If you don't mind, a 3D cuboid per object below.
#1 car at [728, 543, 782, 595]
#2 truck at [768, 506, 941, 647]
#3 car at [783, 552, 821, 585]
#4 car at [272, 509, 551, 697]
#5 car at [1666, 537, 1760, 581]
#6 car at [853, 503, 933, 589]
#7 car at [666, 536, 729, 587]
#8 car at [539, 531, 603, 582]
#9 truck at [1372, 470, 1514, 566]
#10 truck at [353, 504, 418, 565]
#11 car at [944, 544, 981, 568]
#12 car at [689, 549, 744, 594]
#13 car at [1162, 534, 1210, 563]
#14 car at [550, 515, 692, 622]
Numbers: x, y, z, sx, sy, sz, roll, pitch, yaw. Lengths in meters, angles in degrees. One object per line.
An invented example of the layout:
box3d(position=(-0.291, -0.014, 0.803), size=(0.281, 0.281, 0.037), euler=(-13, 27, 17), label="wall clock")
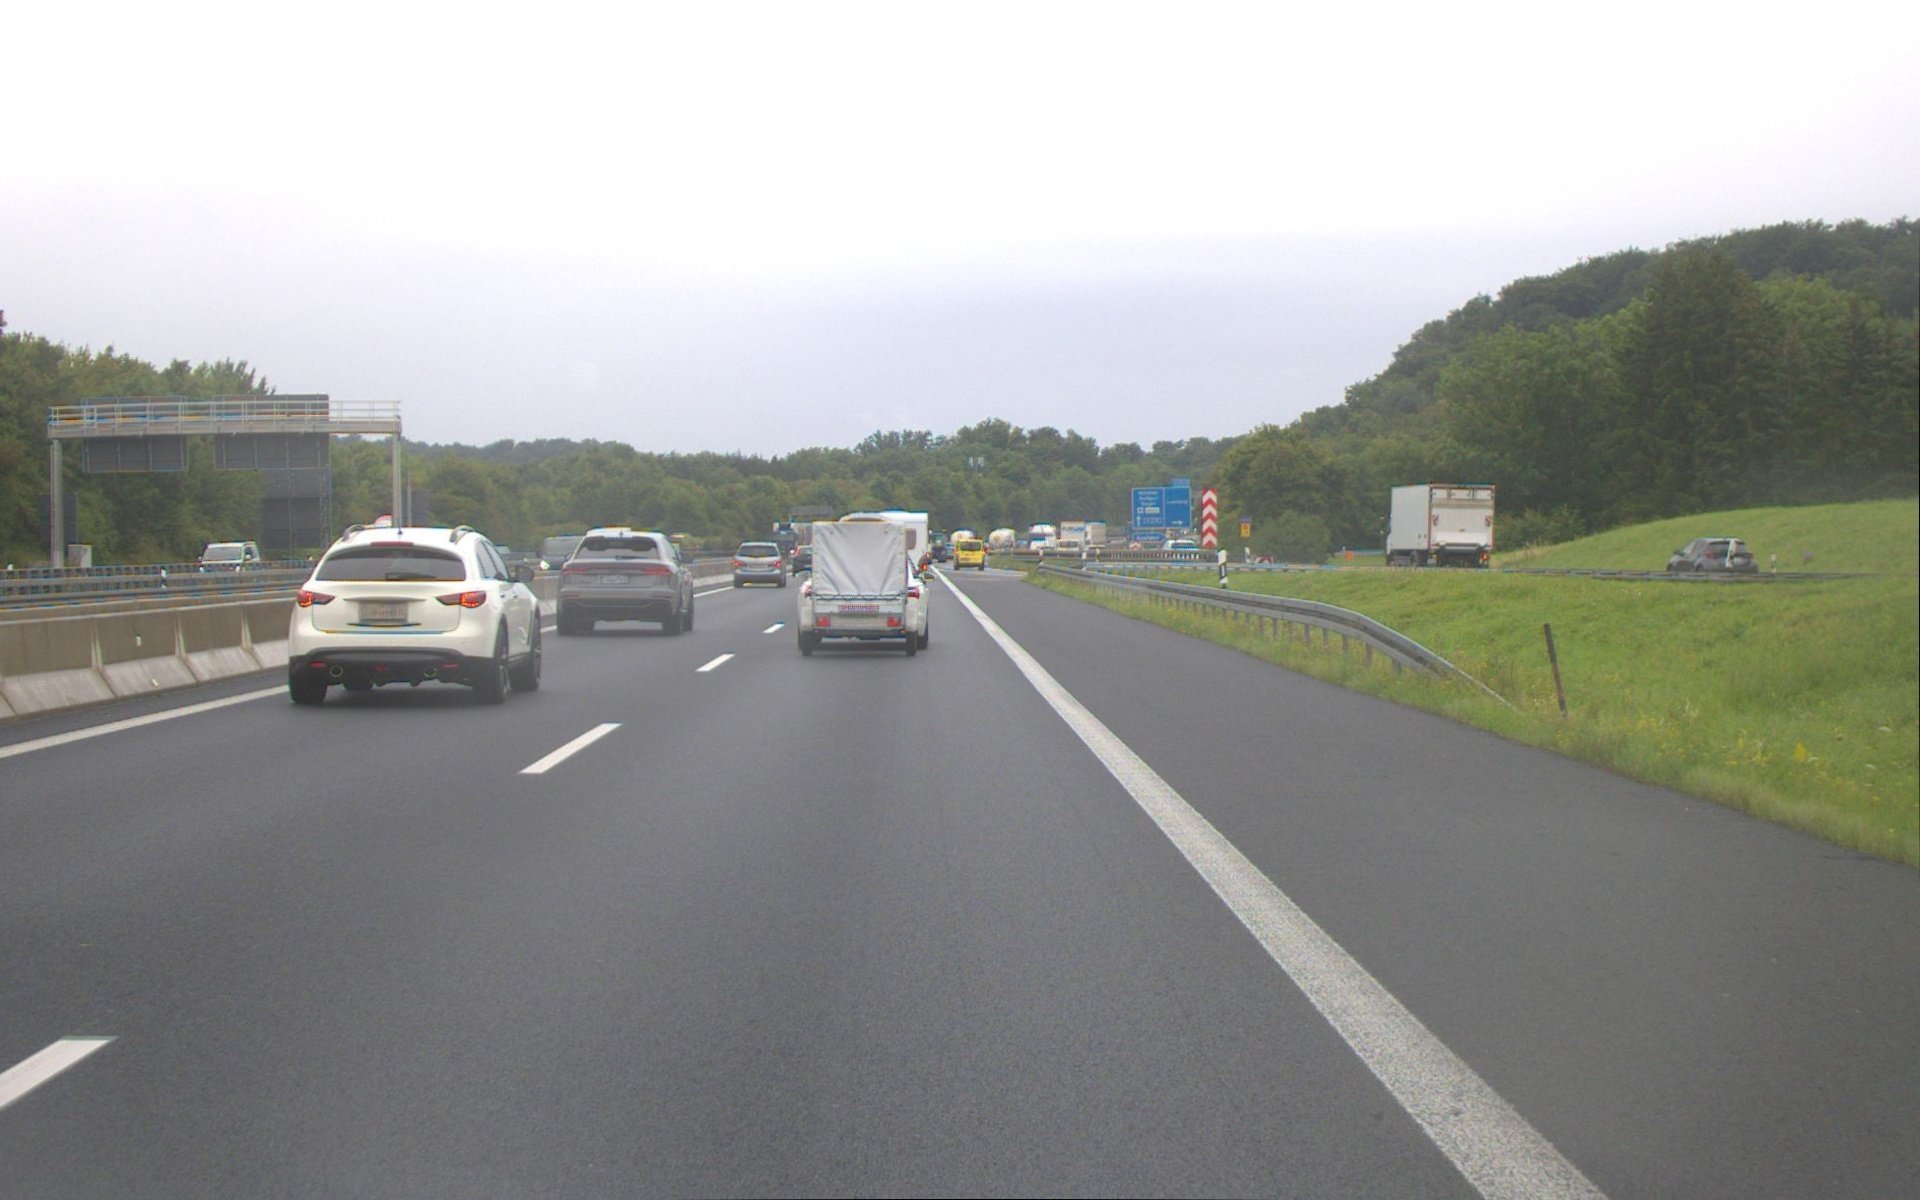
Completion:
box3d(position=(-7.247, -1.126, 121.862), size=(1.738, 1.787, 4.000), euler=(1, 1, -1), label="car")
box3d(position=(-1.463, -0.368, 48.056), size=(2.242, 1.833, 6.585), euler=(0, 1, -2), label="truck")
box3d(position=(-7.585, -1.524, 164.978), size=(1.645, 1.568, 4.000), euler=(1, 1, 0), label="car")
box3d(position=(-5.177, -0.014, 33.003), size=(2.048, 1.665, 4.541), euler=(1, 1, -1), label="car")
box3d(position=(22.989, -1.259, 105.039), size=(1.696, 1.284, 3.536), euler=(1, 1, -7), label="car")
box3d(position=(-2.241, -1.777, 112.376), size=(2.331, 2.716, 6.541), euler=(0, 1, -4), label="car")
box3d(position=(-8.861, -1.317, 116.328), size=(1.819, 1.656, 4.017), euler=(0, 1, 0), label="car")
box3d(position=(-14.599, -1.652, 129.105), size=(1.993, 1.830, 4.680), euler=(1, 1, -2), label="car")
box3d(position=(19.160, -3.241, 136.870), size=(3.824, 3.646, 8.273), euler=(1, 1, -4), label="truck")
box3d(position=(-35.687, -4.072, 213.819), size=(2.685, 3.648, 9.559), euler=(-1, 1, -2), label="truck")
box3d(position=(0.183, -2.882, 224.846), size=(1.993, 1.546, 4.001), euler=(1, 1, -6), label="car")
box3d(position=(-9.208, -1.096, 130.347), size=(1.819, 1.656, 4.017), euler=(0, 1, 0), label="car")
box3d(position=(12.136, -2.771, 184.885), size=(1.993, 1.546, 4.001), euler=(1, 1, -4), label="car")
box3d(position=(-5.640, -0.542, 57.698), size=(1.975, 1.697, 4.803), euler=(1, 1, -1), label="car")
